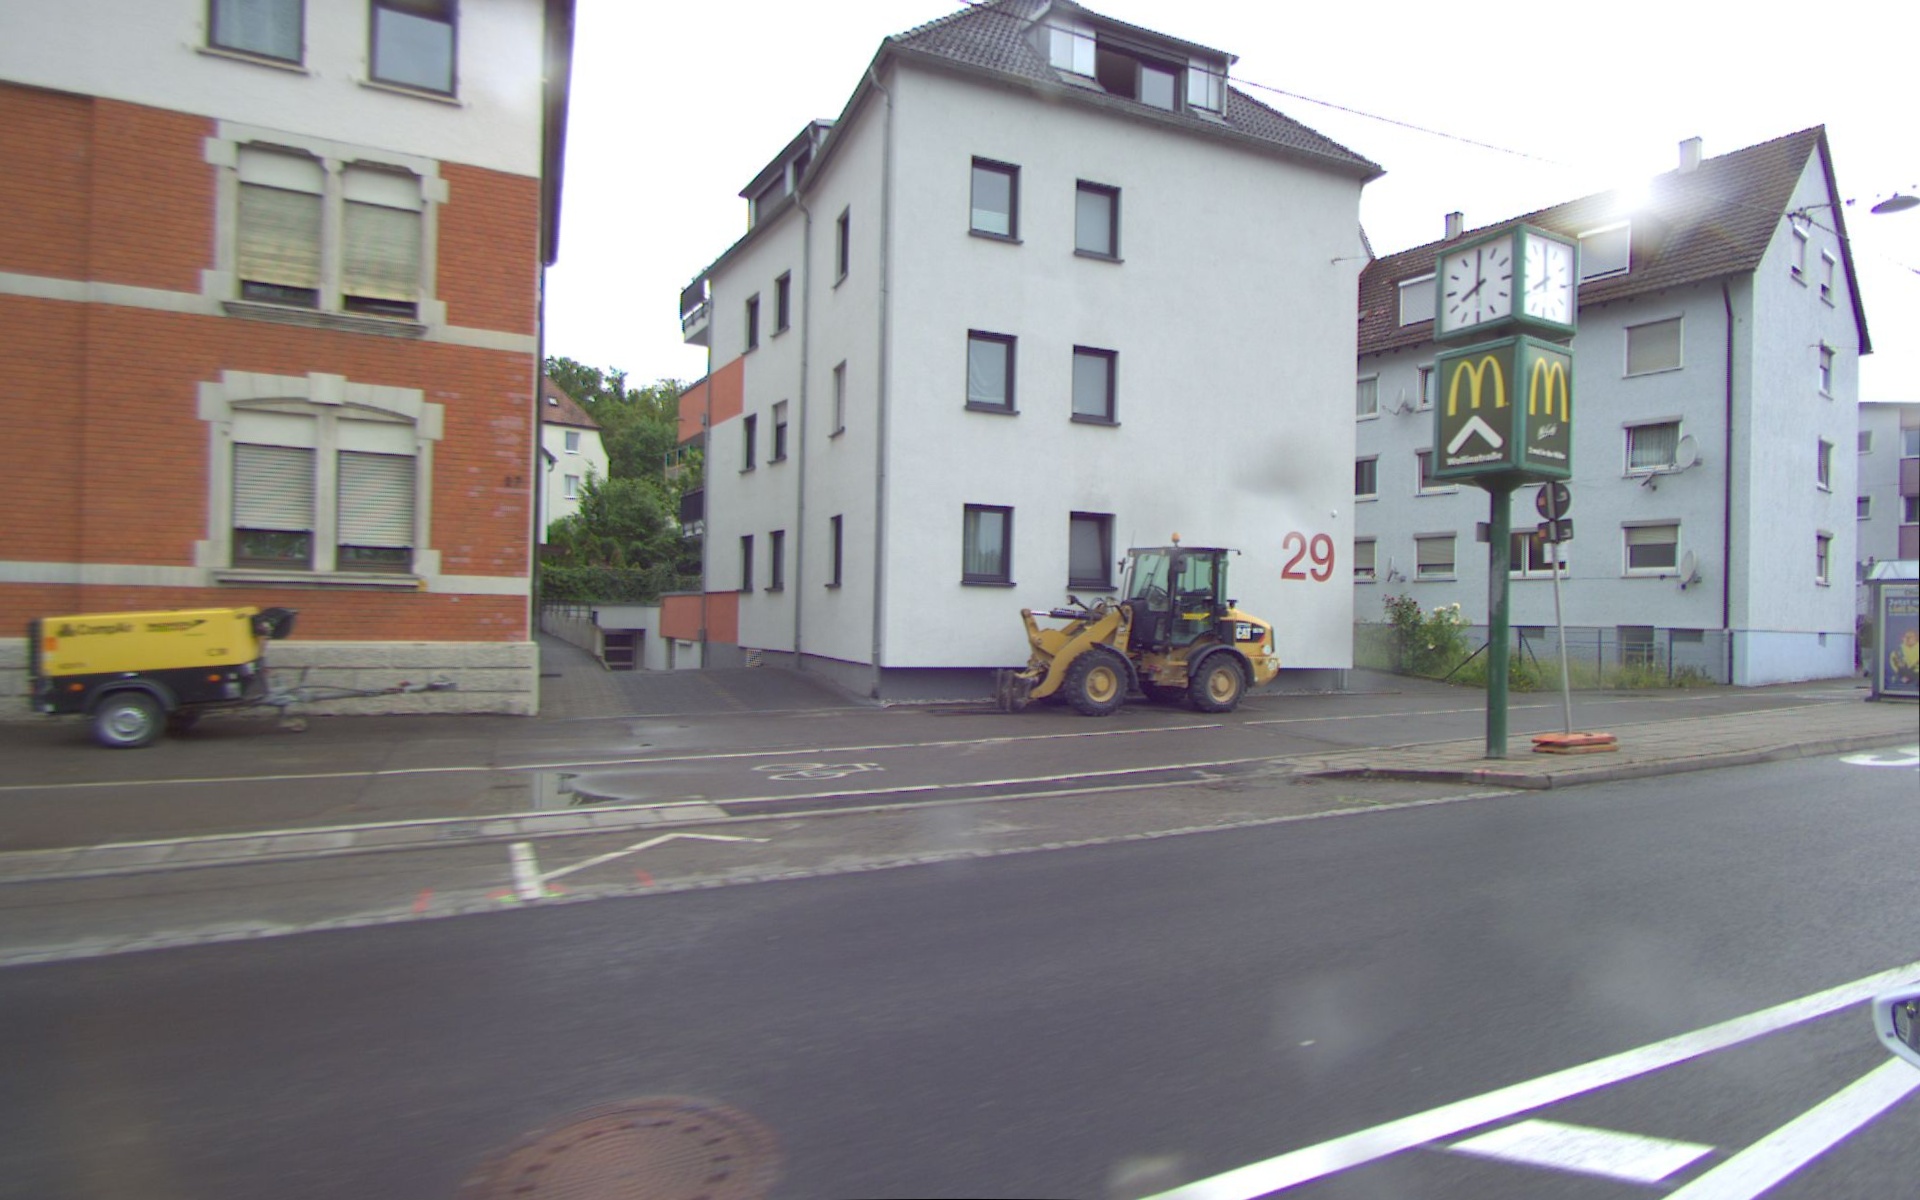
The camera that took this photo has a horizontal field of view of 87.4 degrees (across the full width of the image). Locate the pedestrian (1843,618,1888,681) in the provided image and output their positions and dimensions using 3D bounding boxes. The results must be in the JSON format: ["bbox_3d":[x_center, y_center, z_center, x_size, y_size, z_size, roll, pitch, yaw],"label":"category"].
[{"bbox_3d":[27.076,1.460,30.048,1.106,1.846,0.799,1,0,-38],"label":"pedestrian"}]

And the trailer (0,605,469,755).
[{"bbox_3d":[-7.593,0.799,10.945,3.940,1.417,1.320,1,0,-24],"label":"trailer"}]

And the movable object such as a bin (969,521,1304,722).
[{"bbox_3d":[2.830,0.314,16.180,4.905,2.844,2.125,1,1,-22],"label":"movable object such as a bin"}]
